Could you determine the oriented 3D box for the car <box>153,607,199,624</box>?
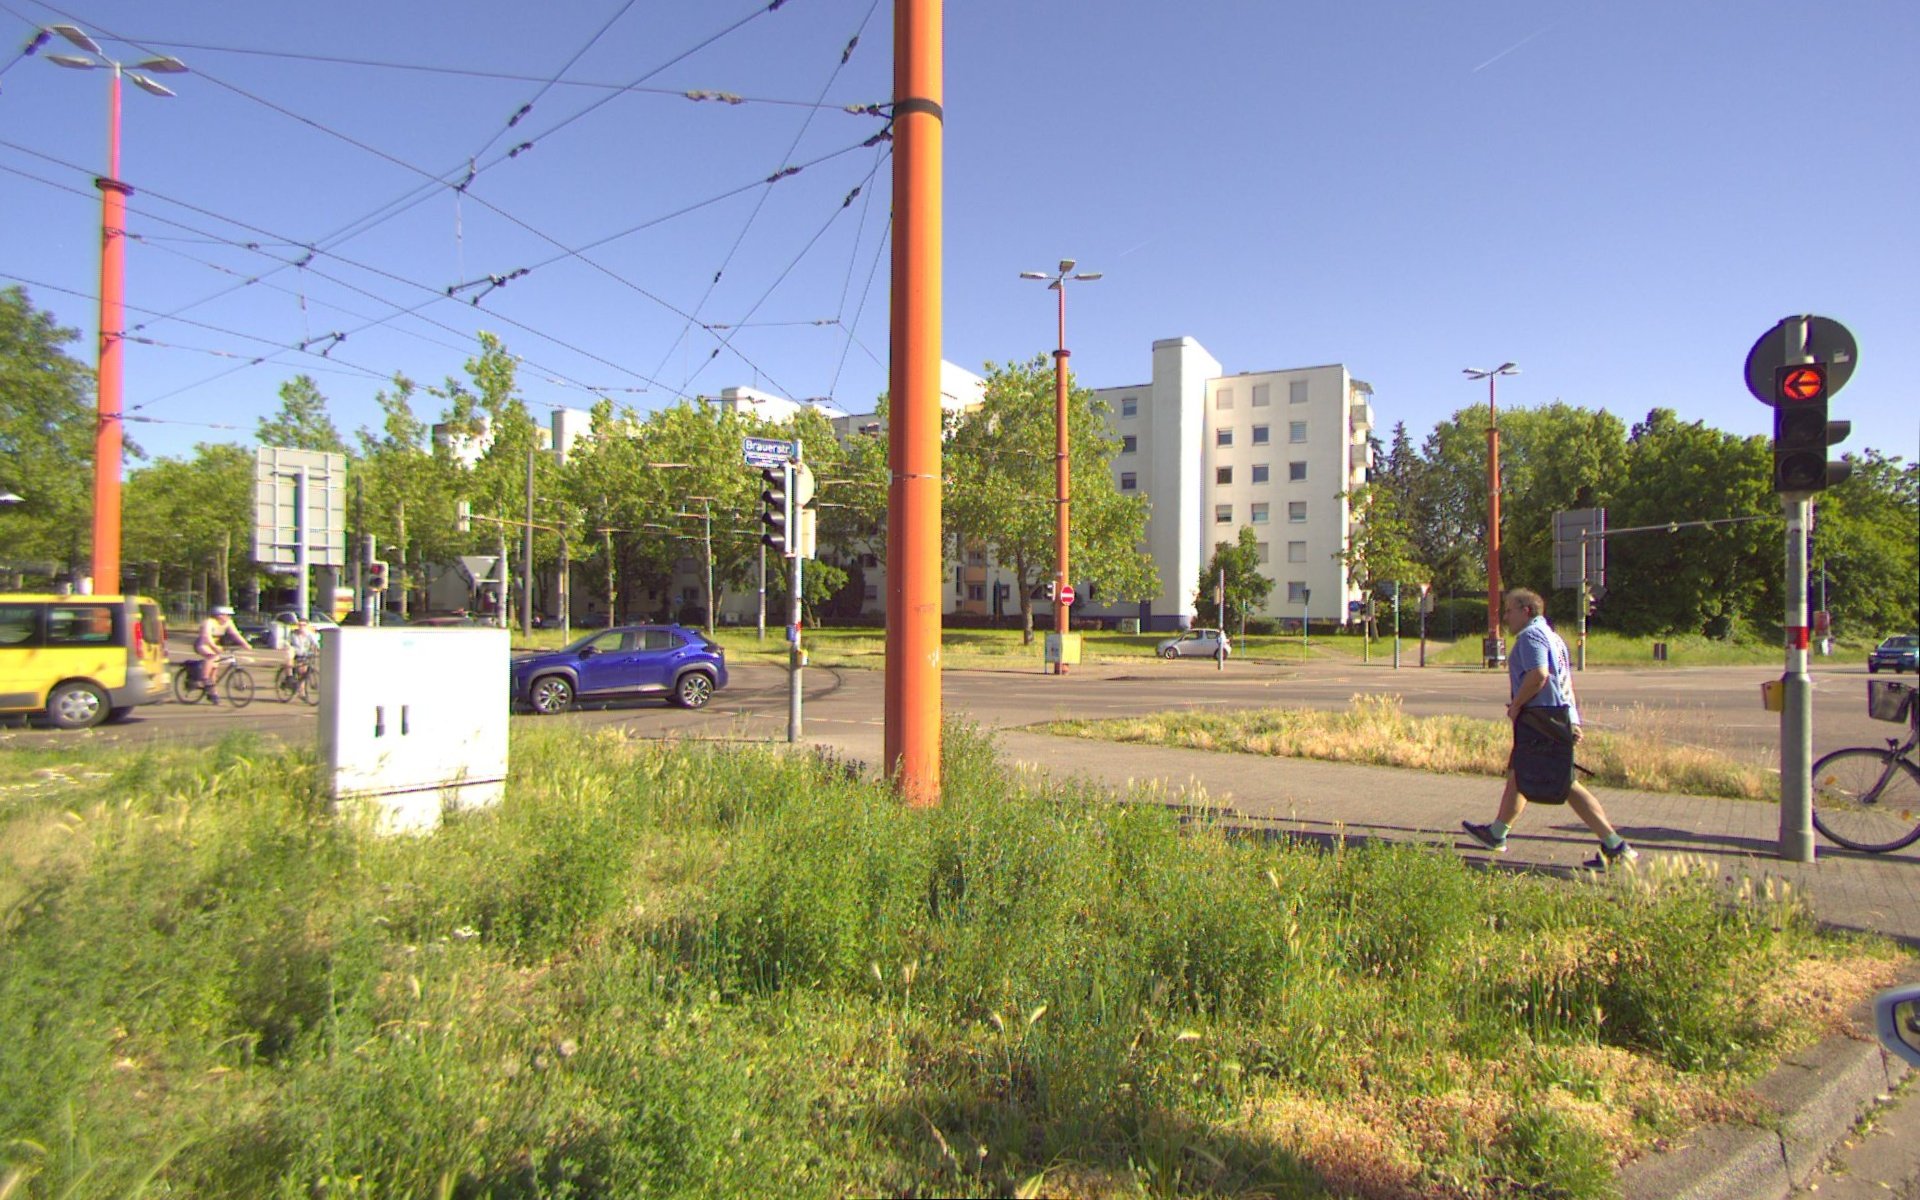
[{"bbox_3d":[-94.089,1.877,120.529,1.969,2.040,3.984,0,-1,38],"label":"car"}]

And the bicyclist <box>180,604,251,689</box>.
[{"bbox_3d":[-14.012,0.870,18.918,0.752,1.565,0.732,1,-1,-1],"label":"bicyclist"}]

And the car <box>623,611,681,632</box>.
[{"bbox_3d":[-22.253,1.547,72.641,3.934,1.428,1.794,1,-1,-16],"label":"car"}]

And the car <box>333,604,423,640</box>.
[{"bbox_3d":[-26.803,0.987,46.223,4.188,1.566,1.854,0,-1,32],"label":"car"}]

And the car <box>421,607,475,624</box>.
[{"bbox_3d":[-44.788,1.386,87.890,3.935,1.428,1.794,1,-1,-17],"label":"car"}]

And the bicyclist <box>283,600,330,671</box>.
[{"bbox_3d":[-13.016,0.699,19.999,0.616,1.399,0.443,1,-1,-1],"label":"bicyclist"}]

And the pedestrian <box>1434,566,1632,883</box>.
[{"bbox_3d":[3.681,0.723,6.441,0.973,1.817,0.951,0,-1,38],"label":"pedestrian"}]

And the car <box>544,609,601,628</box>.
[{"bbox_3d":[-30.074,1.417,78.070,3.934,1.428,1.794,1,-1,-16],"label":"car"}]

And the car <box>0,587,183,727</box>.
[{"bbox_3d":[-14.707,0.818,14.816,4.849,1.992,1.984,1,-2,-30],"label":"car"}]

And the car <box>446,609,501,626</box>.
[{"bbox_3d":[-41.433,1.484,85.620,3.935,1.428,1.794,1,-1,-17],"label":"car"}]

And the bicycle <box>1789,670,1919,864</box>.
[{"bbox_3d":[6.728,1.111,6.585,1.915,1.210,0.690,0,-1,33],"label":"bicycle"}]

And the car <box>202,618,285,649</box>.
[{"bbox_3d":[-34.419,1.592,48.225,4.287,1.368,1.761,0,-1,32],"label":"car"}]

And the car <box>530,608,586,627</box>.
[{"bbox_3d":[-31.936,1.367,79.967,3.935,1.428,1.794,1,-1,-17],"label":"car"}]

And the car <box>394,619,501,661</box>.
[{"bbox_3d":[-18.983,1.460,37.169,3.993,1.454,1.682,0,-1,31],"label":"car"}]

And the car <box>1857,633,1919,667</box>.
[{"bbox_3d":[37.160,1.964,39.619,3.571,1.260,1.730,1,-1,-31],"label":"car"}]

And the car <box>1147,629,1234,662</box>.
[{"bbox_3d":[11.046,2.179,48.311,3.919,1.416,1.758,-2,-2,9],"label":"car"}]

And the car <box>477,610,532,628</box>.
[{"bbox_3d":[-38.030,1.566,83.879,3.935,1.428,1.794,1,-1,-17],"label":"car"}]

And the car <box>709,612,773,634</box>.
[{"bbox_3d":[-14.540,1.551,66.838,1.770,1.428,3.987,0,-1,35],"label":"car"}]

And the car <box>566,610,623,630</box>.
[{"bbox_3d":[-27.575,1.485,75.915,3.934,1.428,1.794,1,-1,-16],"label":"car"}]

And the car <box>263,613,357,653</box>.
[{"bbox_3d":[-28.421,1.406,43.890,4.178,1.658,1.825,0,-1,31],"label":"car"}]

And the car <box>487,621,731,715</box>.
[{"bbox_3d":[-6.617,1.221,19.006,4.058,1.595,1.984,1,-1,-30],"label":"car"}]

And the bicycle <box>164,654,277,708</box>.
[{"bbox_3d":[-13.900,1.521,18.912,1.612,0.974,0.685,0,-1,-1],"label":"bicycle"}]
